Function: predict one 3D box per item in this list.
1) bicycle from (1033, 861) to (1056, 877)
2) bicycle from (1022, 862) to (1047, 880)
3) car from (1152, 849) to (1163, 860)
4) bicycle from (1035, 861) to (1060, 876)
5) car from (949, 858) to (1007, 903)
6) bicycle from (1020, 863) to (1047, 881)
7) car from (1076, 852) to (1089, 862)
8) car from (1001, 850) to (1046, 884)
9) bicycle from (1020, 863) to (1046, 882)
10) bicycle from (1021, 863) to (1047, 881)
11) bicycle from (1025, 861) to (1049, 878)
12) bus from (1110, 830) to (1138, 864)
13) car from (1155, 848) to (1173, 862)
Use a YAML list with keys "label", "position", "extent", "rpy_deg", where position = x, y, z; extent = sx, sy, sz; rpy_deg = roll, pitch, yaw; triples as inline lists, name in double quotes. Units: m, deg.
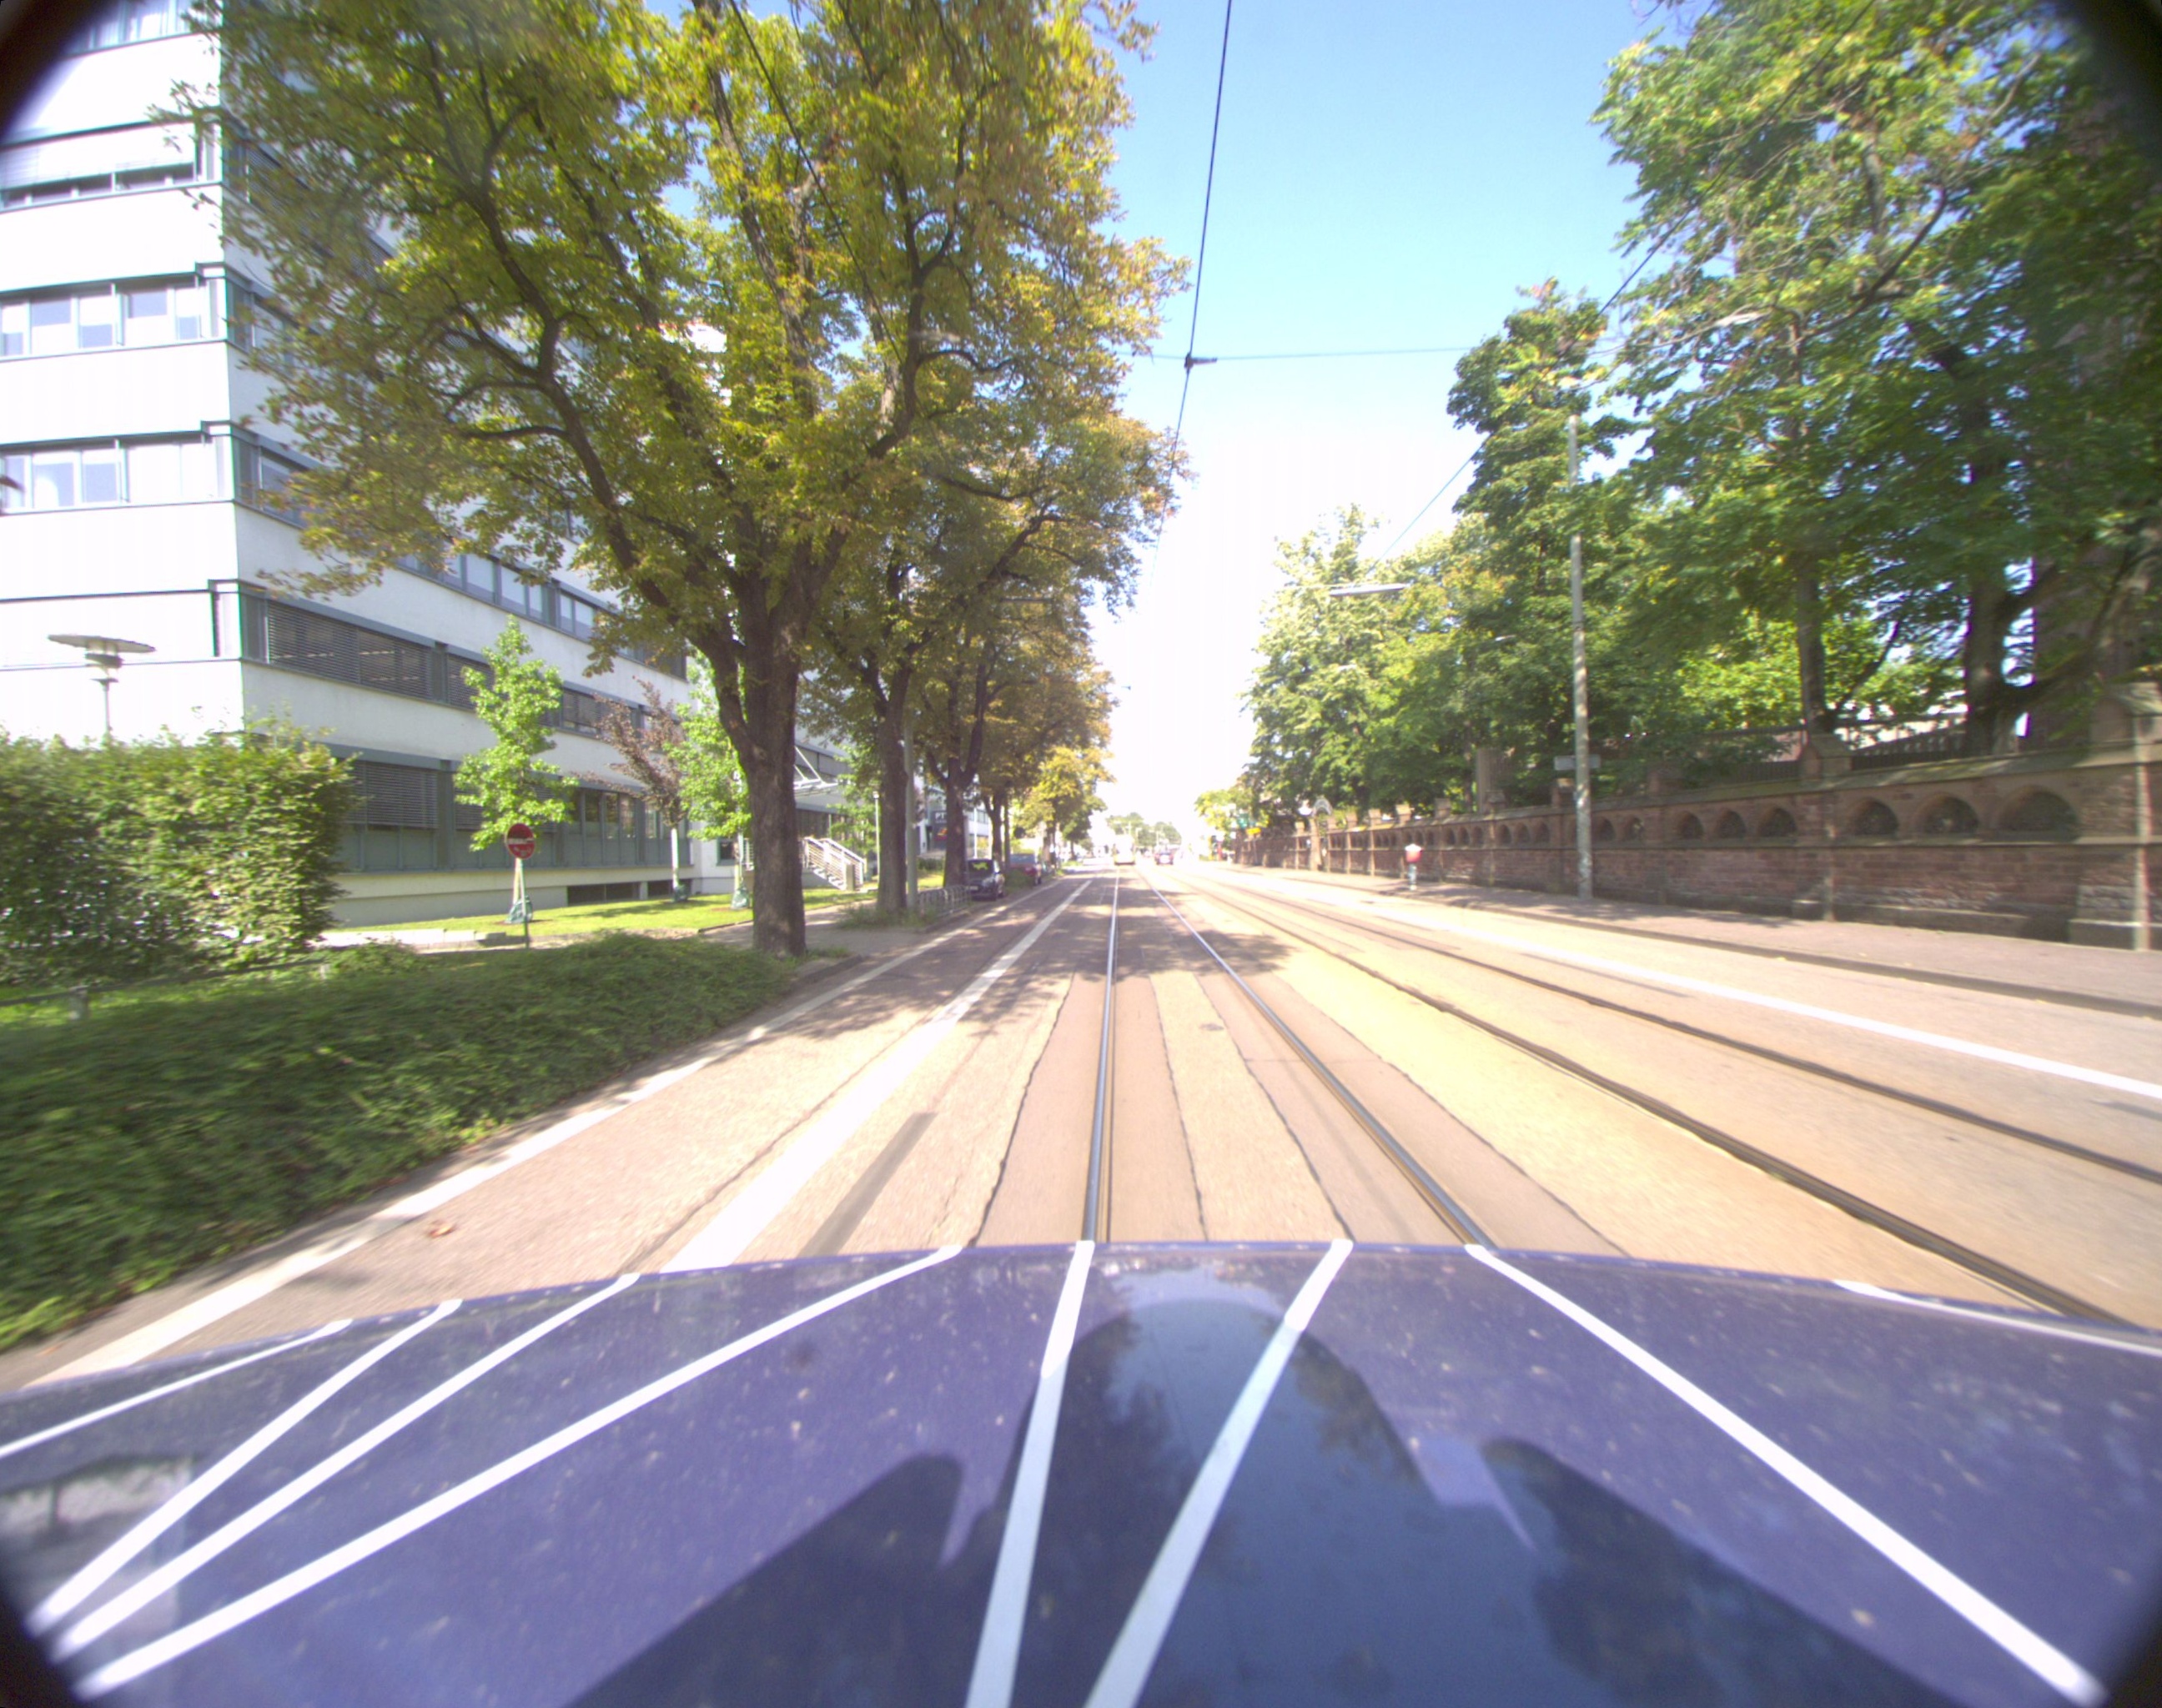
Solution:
- label: "bicycle"
  position: [-2.417, 0.969, 50.005]
  extent: [1.460, 1.009, 0.382]
  rpy_deg: [-1, 1, 0]
- label: "bicycle"
  position: [-2.750, 1.027, 45.322]
  extent: [1.460, 1.009, 0.382]
  rpy_deg: [-1, 1, 0]
- label: "car"
  position: [12.844, 0.111, 127.677]
  extent: [1.754, 1.718, 4.001]
  rpy_deg: [-2, 1, 6]
- label: "bicycle"
  position: [-2.251, 0.958, 50.474]
  extent: [1.621, 1.009, 0.382]
  rpy_deg: [-1, 1, 0]
- label: "car"
  position: [-3.637, 0.887, 27.386]
  extent: [1.566, 1.433, 3.564]
  rpy_deg: [1, 1, 1]
- label: "bicycle"
  position: [-2.713, 1.045, 43.577]
  extent: [1.460, 1.009, 0.382]
  rpy_deg: [-1, 1, 0]
- label: "car"
  position: [0.316, 0.564, 134.806]
  extent: [1.755, 1.598, 4.001]
  rpy_deg: [-2, 1, 6]
- label: "car"
  position: [-2.943, 0.653, 39.514]
  extent: [1.866, 1.643, 4.184]
  rpy_deg: [0, 1, 2]
- label: "bicycle"
  position: [-2.730, 1.044, 43.150]
  extent: [1.460, 1.009, 0.382]
  rpy_deg: [-1, 1, 0]
- label: "bicycle"
  position: [-2.724, 1.040, 43.992]
  extent: [1.460, 1.009, 0.382]
  rpy_deg: [-1, 1, 0]
- label: "bicycle"
  position: [-2.770, 0.999, 48.275]
  extent: [1.460, 1.009, 0.382]
  rpy_deg: [-1, 1, 0]
- label: "bus"
  position: [5.206, -0.883, 91.345]
  extent: [2.900, 3.771, 9.321]
  rpy_deg: [-2, 1, 5]
- label: "car"
  position: [8.993, 0.086, 82.638]
  extent: [1.694, 1.434, 4.000]
  rpy_deg: [-2, 1, 3]
